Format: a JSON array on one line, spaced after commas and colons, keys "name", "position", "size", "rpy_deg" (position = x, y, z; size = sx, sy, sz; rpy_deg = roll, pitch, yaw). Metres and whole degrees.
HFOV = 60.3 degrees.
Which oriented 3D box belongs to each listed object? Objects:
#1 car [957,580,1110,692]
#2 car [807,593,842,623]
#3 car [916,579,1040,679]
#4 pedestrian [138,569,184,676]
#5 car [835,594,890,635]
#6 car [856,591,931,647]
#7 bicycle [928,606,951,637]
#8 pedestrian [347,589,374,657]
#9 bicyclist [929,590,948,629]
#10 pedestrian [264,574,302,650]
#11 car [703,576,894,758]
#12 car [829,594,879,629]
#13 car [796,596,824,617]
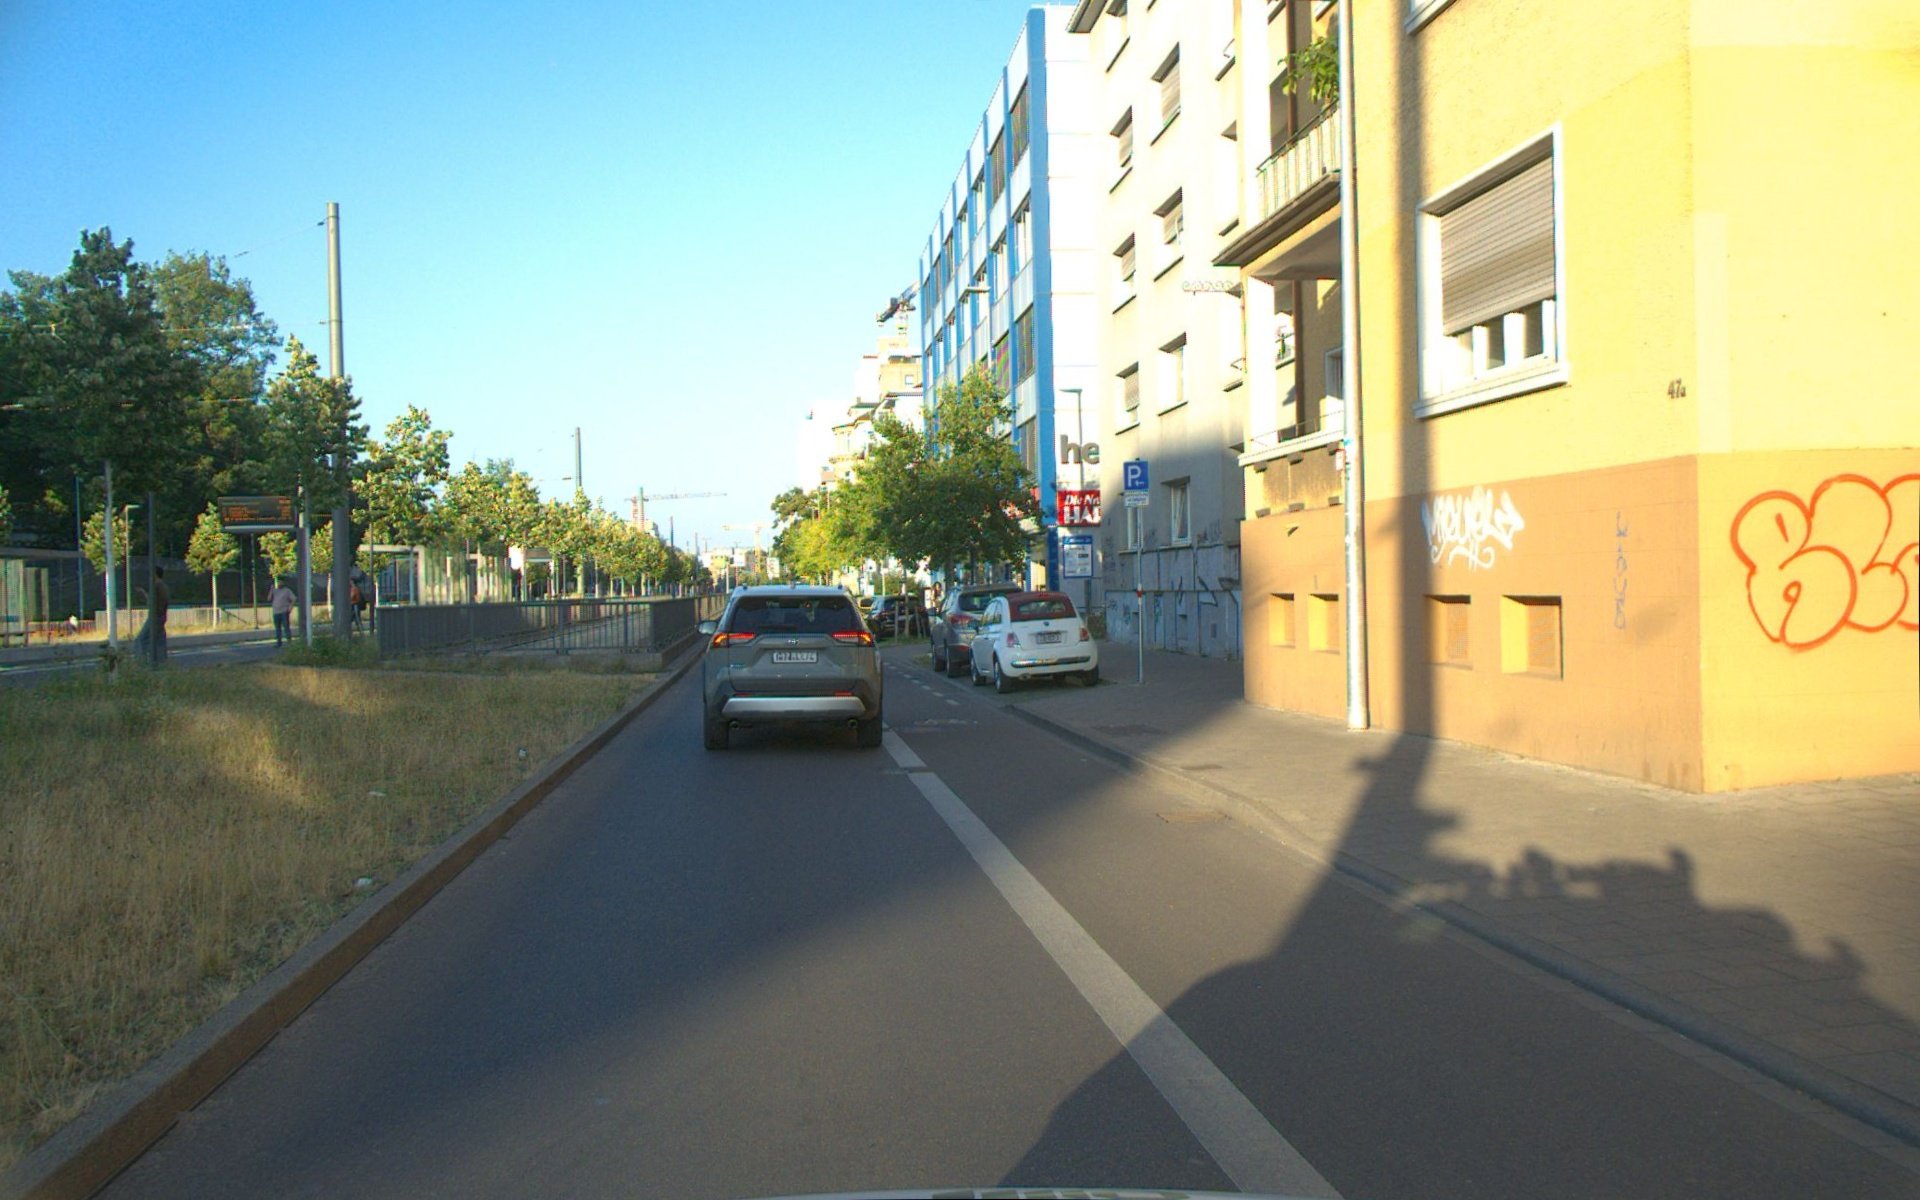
[{"name": "car", "position": [1.110, 0.548, 26.826], "size": [1.639, 1.544, 3.593], "rpy_deg": [-5, 1, -10]}, {"name": "car", "position": [-8.508, 0.465, 103.550], "size": [1.820, 1.736, 4.245], "rpy_deg": [-4, 1, -9]}, {"name": "car", "position": [0.271, 0.514, 32.091], "size": [1.724, 1.682, 4.521], "rpy_deg": [-4, 1, -7]}, {"name": "pedestrian", "position": [-13.750, 0.378, 28.463], "size": [0.461, 1.818, 0.626], "rpy_deg": [-1, 0, 0]}, {"name": "car", "position": [-3.818, 0.555, 64.245], "size": [1.652, 1.480, 4.121], "rpy_deg": [-2, 0, -9]}, {"name": "car", "position": [-2.236, 0.601, 54.038], "size": [1.786, 1.593, 4.800], "rpy_deg": [-5, 1, -9]}, {"name": "bicycle", "position": [-0.802, 0.839, 65.071], "size": [0.544, 1.149, 1.969], "rpy_deg": [-4, 0, -9]}, {"name": "pedestrian", "position": [-15.934, 0.610, 43.946], "size": [0.625, 1.759, 0.632], "rpy_deg": [-2, 0, -20]}, {"name": "bicyclist", "position": [-0.839, 0.362, 65.098], "size": [0.548, 1.501, 0.621], "rpy_deg": [-4, 0, -9]}, {"name": "pedestrian", "position": [-16.184, 0.285, 39.543], "size": [0.713, 1.775, 0.634], "rpy_deg": [-2, 1, -15]}, {"name": "car", "position": [-1.879, 0.658, 18.095], "size": [1.823, 1.744, 4.183], "rpy_deg": [0, 0, -9]}, {"name": "car", "position": [-4.802, 0.508, 74.453], "size": [1.786, 1.480, 4.119], "rpy_deg": [-2, 0, -9]}, {"name": "car", "position": [-12.066, 0.493, 132.683], "size": [1.760, 1.496, 4.434], "rpy_deg": [-4, 1, -10]}]
